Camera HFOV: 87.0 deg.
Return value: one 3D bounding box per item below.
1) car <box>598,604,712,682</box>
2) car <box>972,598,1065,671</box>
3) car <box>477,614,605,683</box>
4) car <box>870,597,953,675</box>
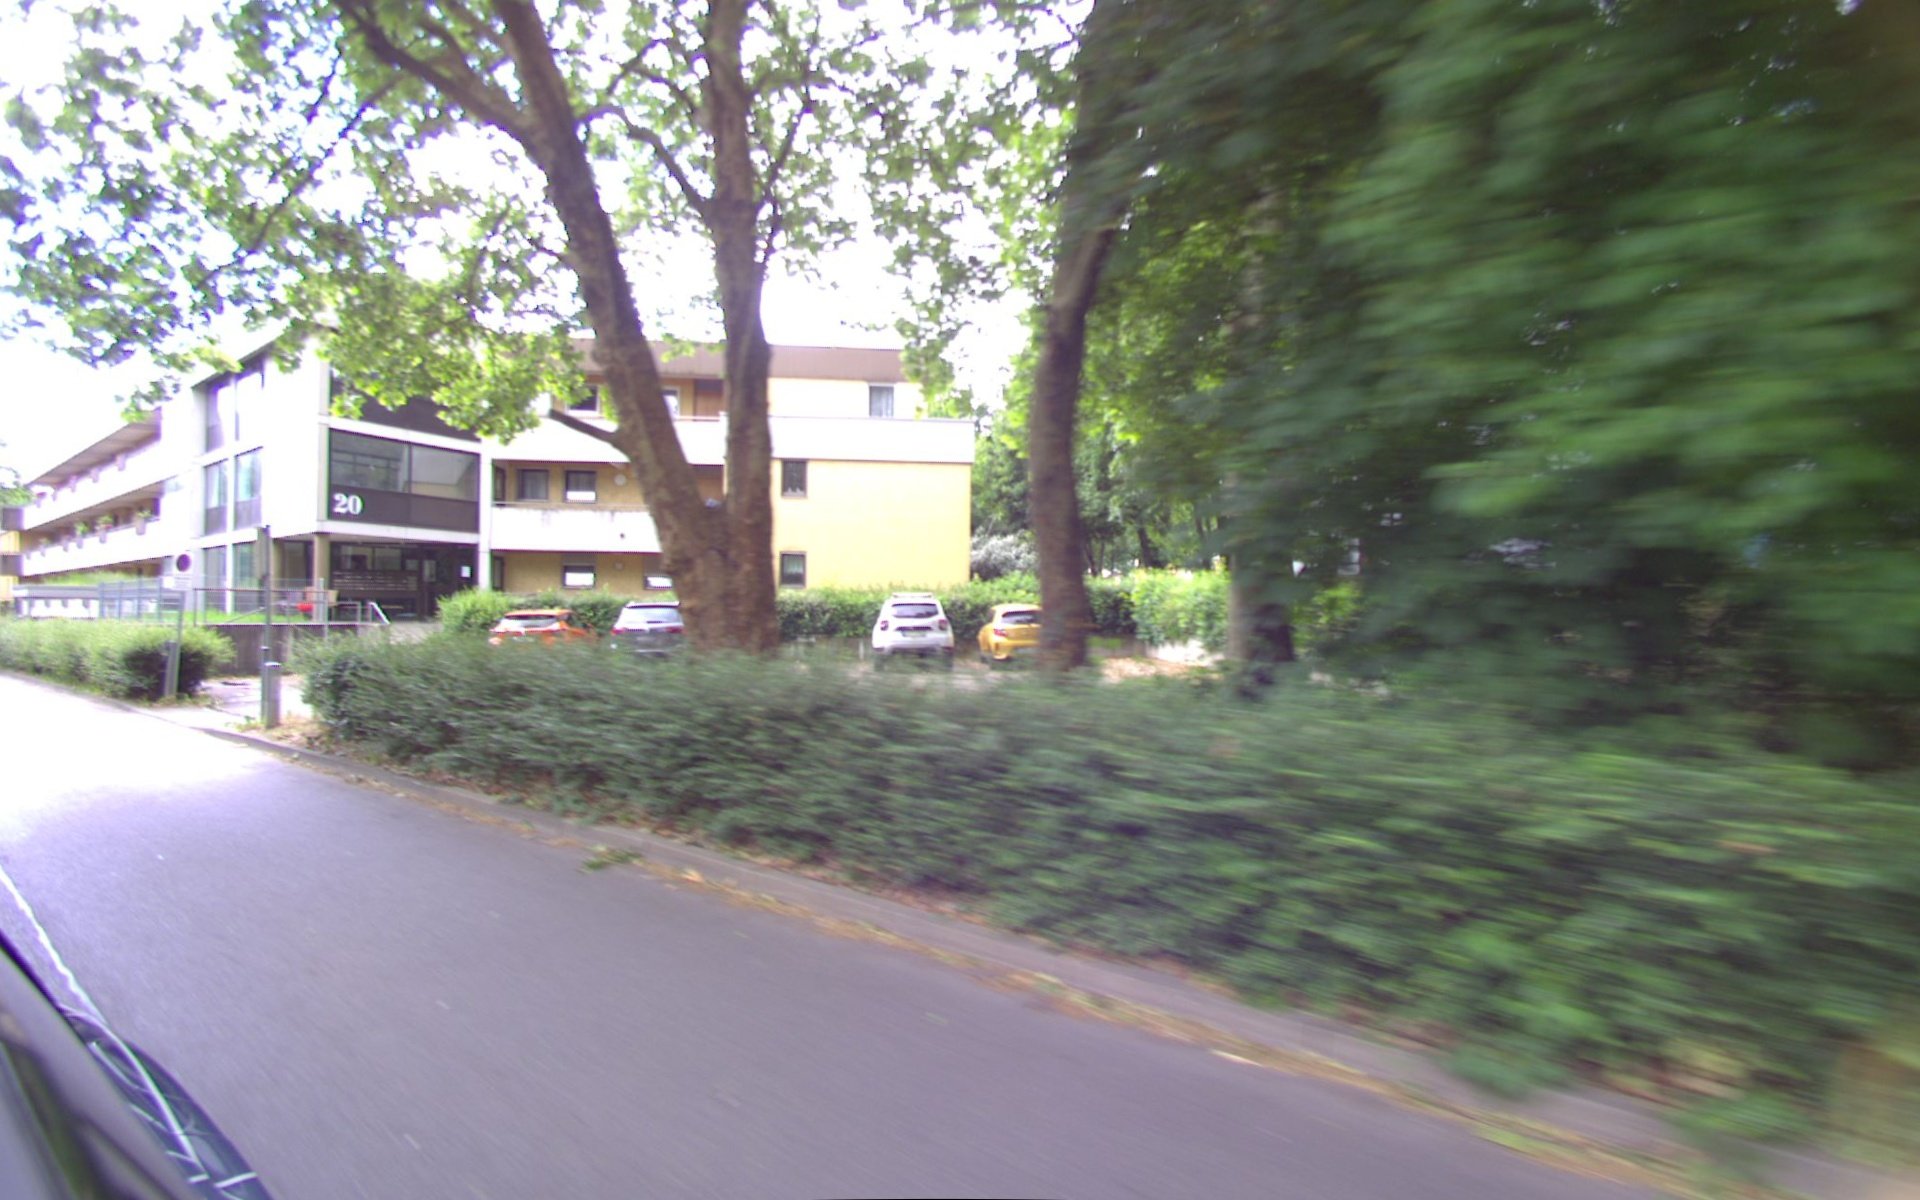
[{"bbox_3d":[-6.855,0.910,23.130,1.797,1.623,4.005,0,-1,-6],"label":"car"},{"bbox_3d":[1.326,0.786,24.571,1.723,1.623,4.004,0,-1,-4],"label":"car"},{"bbox_3d":[-9.624,1.054,23.570,1.722,1.441,4.005,0,-1,-6],"label":"car"},{"bbox_3d":[-1.191,0.793,23.856,1.780,1.661,4.119,0,-1,-4],"label":"car"}]
